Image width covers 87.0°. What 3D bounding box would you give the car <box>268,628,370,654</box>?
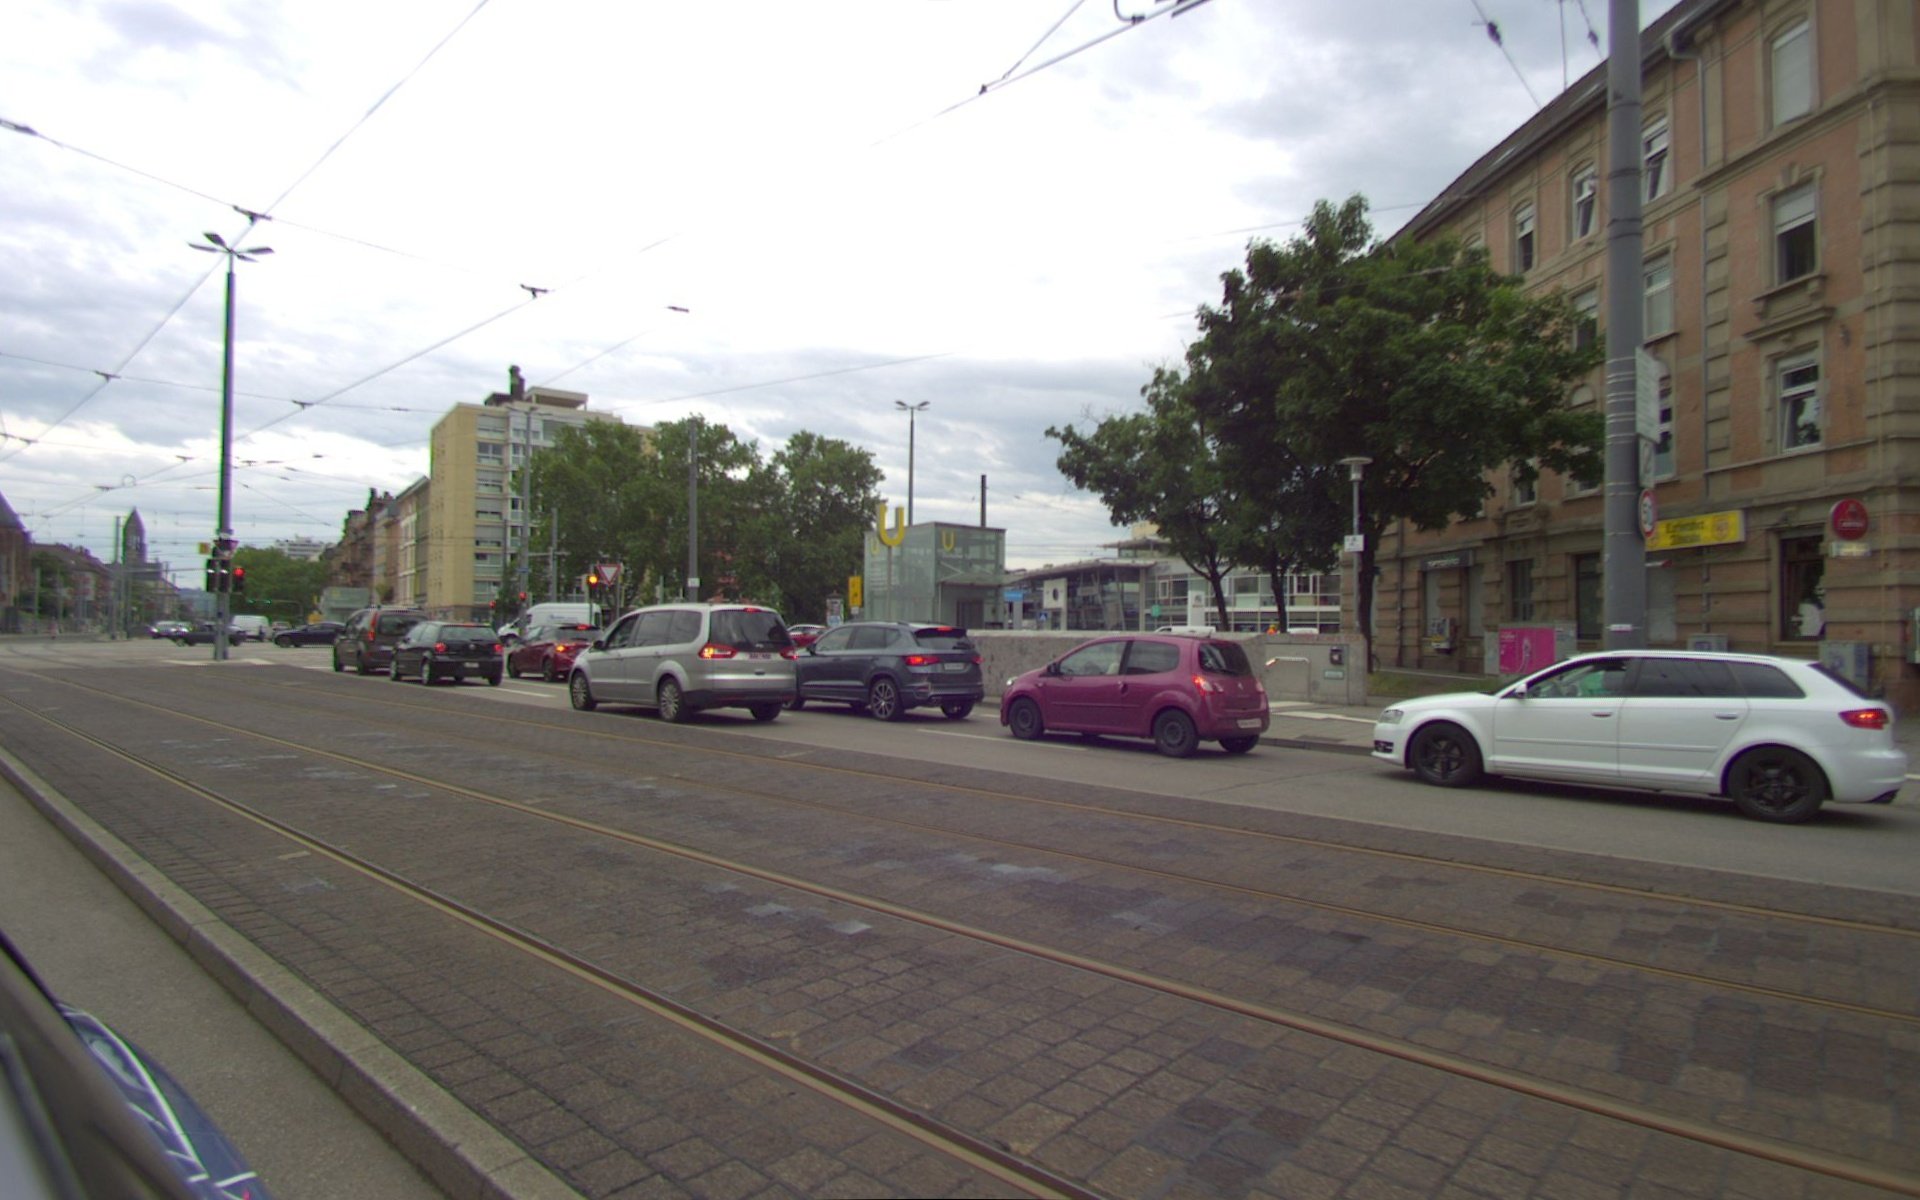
[{"bbox_3d":[-36.944,2.362,58.435,4.592,1.431,2.002,1,-2,-4],"label":"car"}]

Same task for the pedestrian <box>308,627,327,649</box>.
[{"bbox_3d":[-54.013,3.210,85.049,1.162,1.798,1.042,2,-3,-41],"label":"pedestrian"}]

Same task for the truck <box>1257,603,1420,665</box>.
[{"bbox_3d":[23.355,2.077,62.942,9.127,3.576,2.793,1,-1,12],"label":"truck"}]

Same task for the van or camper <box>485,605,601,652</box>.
[{"bbox_3d":[-24.905,1.687,60.659,5.961,2.630,2.425,1,-1,-3],"label":"van or camper"}]

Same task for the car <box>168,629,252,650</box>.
[{"bbox_3d":[-44.638,2.360,60.305,3.673,1.256,1.697,1,-2,-18],"label":"car"}]

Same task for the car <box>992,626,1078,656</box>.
[{"bbox_3d":[4.796,2.604,64.548,5.379,1.870,2.160,0,-2,6],"label":"car"}]

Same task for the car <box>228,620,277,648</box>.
[{"bbox_3d":[-52.210,2.503,74.782,1.890,1.896,5.106,2,-1,-23],"label":"car"}]

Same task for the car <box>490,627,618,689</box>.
[{"bbox_3d":[-10.667,1.467,26.482,1.669,1.453,4.002,3,-3,-44],"label":"car"}]

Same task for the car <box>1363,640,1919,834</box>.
[{"bbox_3d":[6.321,1.144,9.558,4.362,1.390,1.727,-1,-5,43],"label":"car"}]

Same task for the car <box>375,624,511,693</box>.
[{"bbox_3d":[-12.052,1.305,23.473,1.669,1.453,4.002,3,-3,-44],"label":"car"}]

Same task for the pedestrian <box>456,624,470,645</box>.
[{"bbox_3d":[-41.776,2.920,85.031,0.915,1.733,0.697,0,-2,41],"label":"pedestrian"}]

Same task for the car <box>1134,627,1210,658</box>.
[{"bbox_3d":[13.272,2.664,63.584,4.470,1.853,1.995,0,-2,8],"label":"car"}]

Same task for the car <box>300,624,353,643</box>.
[{"bbox_3d":[-61.943,3.248,98.978,2.065,1.768,3.975,1,-1,19],"label":"car"}]

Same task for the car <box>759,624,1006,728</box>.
[{"bbox_3d":[-1.423,1.218,17.183,1.841,1.546,4.306,5,-4,-43],"label":"car"}]

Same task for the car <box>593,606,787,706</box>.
[{"bbox_3d":[-6.003,1.150,22.055,1.841,1.931,5.105,2,-3,-44],"label":"car"}]

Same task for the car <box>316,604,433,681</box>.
[{"bbox_3d":[-16.050,1.127,27.657,1.669,1.915,4.389,3,-3,-44],"label":"car"}]

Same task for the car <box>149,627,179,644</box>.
[{"bbox_3d":[-69.199,3.057,87.924,1.968,1.453,4.007,2,-3,-39],"label":"car"}]

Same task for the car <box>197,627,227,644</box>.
[{"bbox_3d":[-66.628,3.180,90.116,1.968,1.453,4.007,2,-3,-39],"label":"car"}]

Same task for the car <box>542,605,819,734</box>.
[{"bbox_3d":[-4.496,1.007,15.820,4.909,1.719,1.842,-1,-4,43],"label":"car"}]

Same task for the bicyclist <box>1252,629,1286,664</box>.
[{"bbox_3d":[14.556,2.190,47.655,1.299,1.633,0.832,1,-2,-23],"label":"bicyclist"}]

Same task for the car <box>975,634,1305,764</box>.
[{"bbox_3d":[2.250,1.207,13.268,1.841,1.410,3.897,5,-5,-45],"label":"car"}]
